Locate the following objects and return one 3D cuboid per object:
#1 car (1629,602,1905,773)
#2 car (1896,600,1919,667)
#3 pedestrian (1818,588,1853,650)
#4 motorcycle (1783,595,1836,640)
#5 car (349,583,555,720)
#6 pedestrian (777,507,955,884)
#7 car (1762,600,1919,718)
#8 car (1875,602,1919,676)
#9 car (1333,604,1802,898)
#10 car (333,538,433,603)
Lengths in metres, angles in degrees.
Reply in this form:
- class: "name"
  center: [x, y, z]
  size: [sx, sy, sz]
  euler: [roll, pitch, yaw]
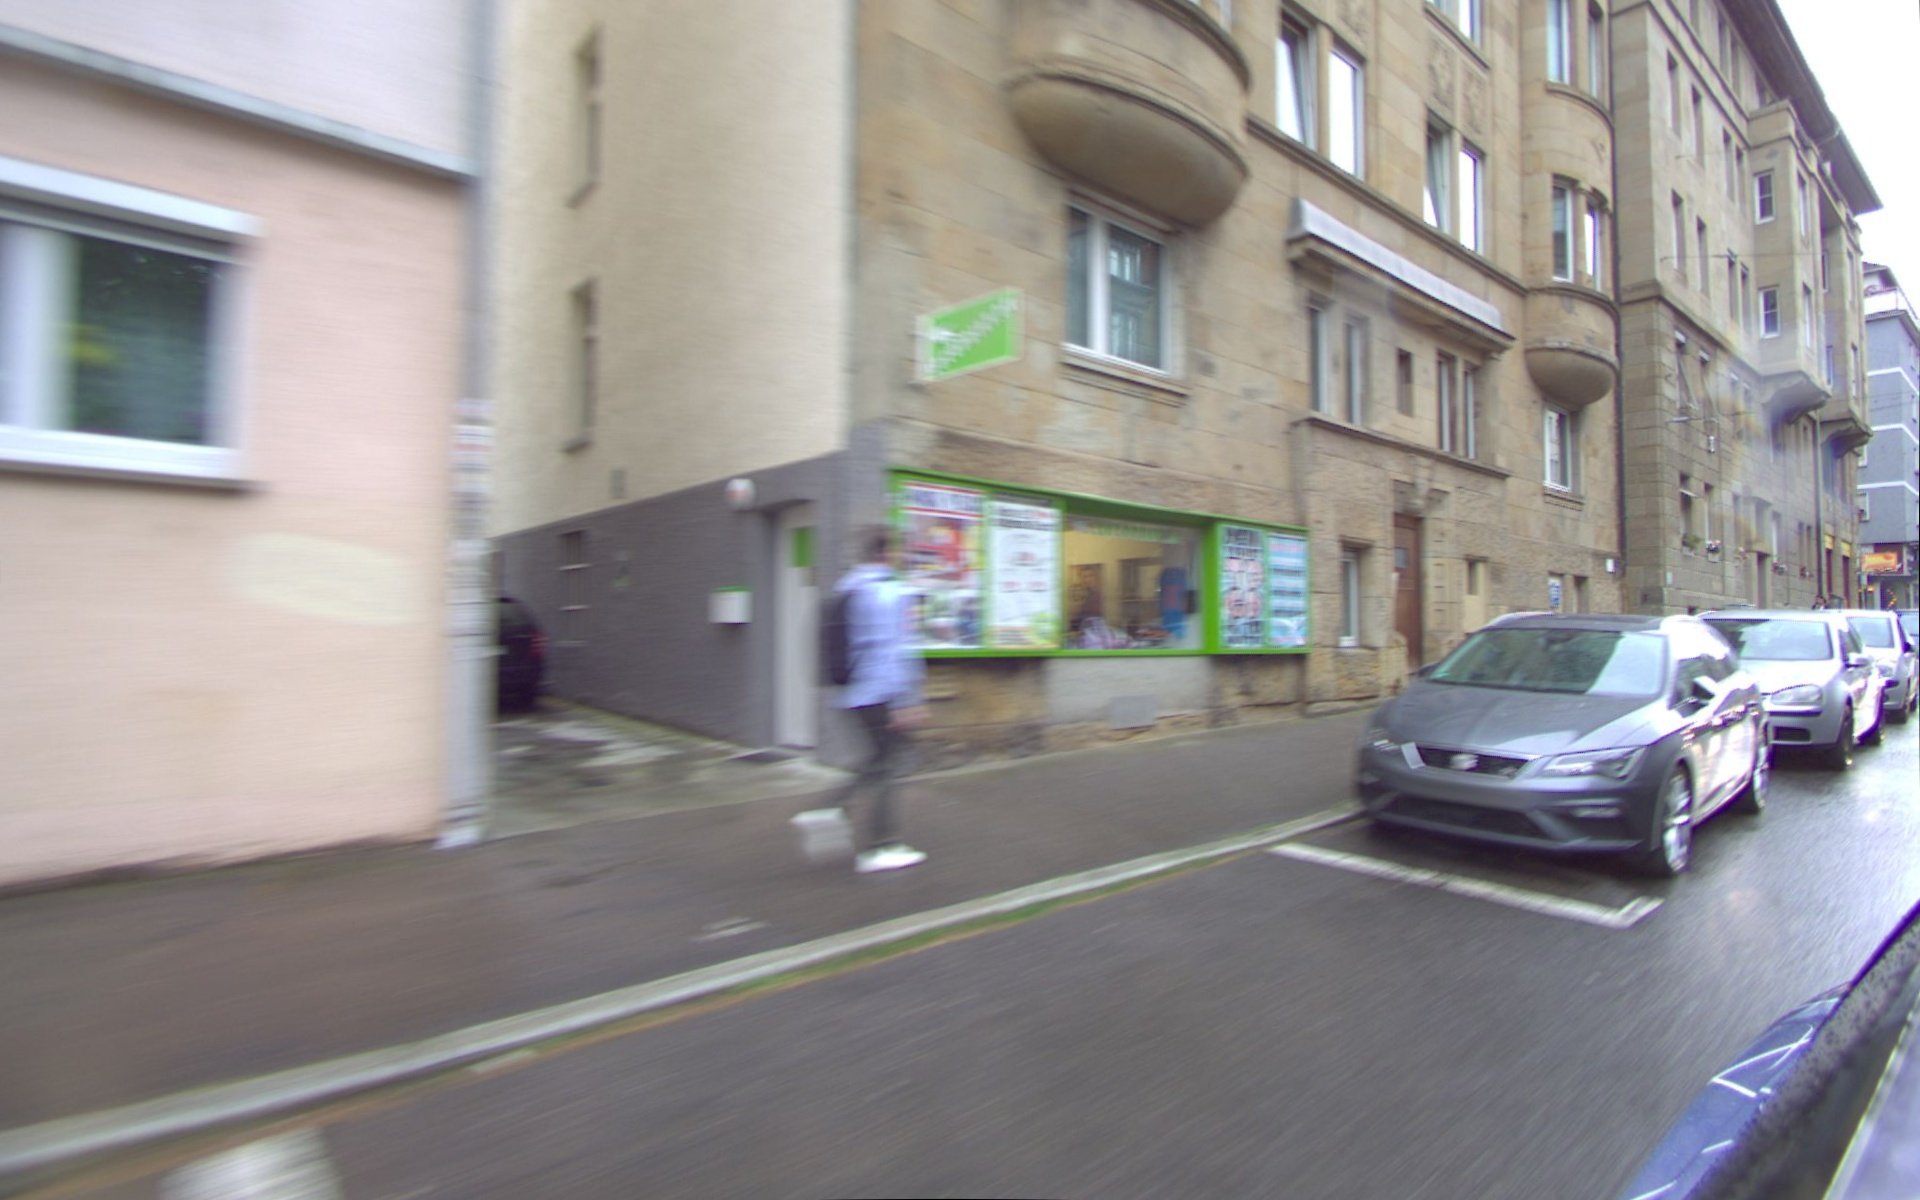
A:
- class: "car"
  center: [8.583, 0.757, 10.651]
  size: [3.888, 1.452, 1.670]
  euler: [0, 0, -42]
- class: "car"
  center: [23.245, 0.752, 23.570]
  size: [4.013, 1.481, 1.790]
  euler: [0, 0, -42]
- class: "pedestrian"
  center: [22.329, 0.474, 25.806]
  size: [0.697, 1.555, 0.562]
  euler: [0, -1, -41]
- class: "motorcycle"
  center: [23.692, 0.467, 28.204]
  size: [2.698, 1.214, 0.706]
  euler: [0, -1, -41]
- class: "car"
  center: [-6.663, 0.549, 13.057]
  size: [1.654, 1.487, 3.997]
  euler: [0, 0, -37]
- class: "pedestrian"
  center: [-0.486, 0.447, 5.244]
  size: [0.676, 1.785, 0.608]
  euler: [0, 1, -41]
- class: "car"
  center: [12.823, 0.740, 14.485]
  size: [3.622, 1.452, 1.592]
  euler: [0, 0, -43]
- class: "car"
  center: [19.881, 0.756, 20.597]
  size: [3.387, 1.433, 1.545]
  euler: [0, 0, -42]
- class: "car"
  center: [4.412, 0.748, 7.043]
  size: [4.238, 1.428, 1.672]
  euler: [0, 0, -43]
- class: "car"
  center: [-17.012, -0.800, 29.759]
  size: [1.844, 1.705, 3.993]
  euler: [0, -1, -40]
